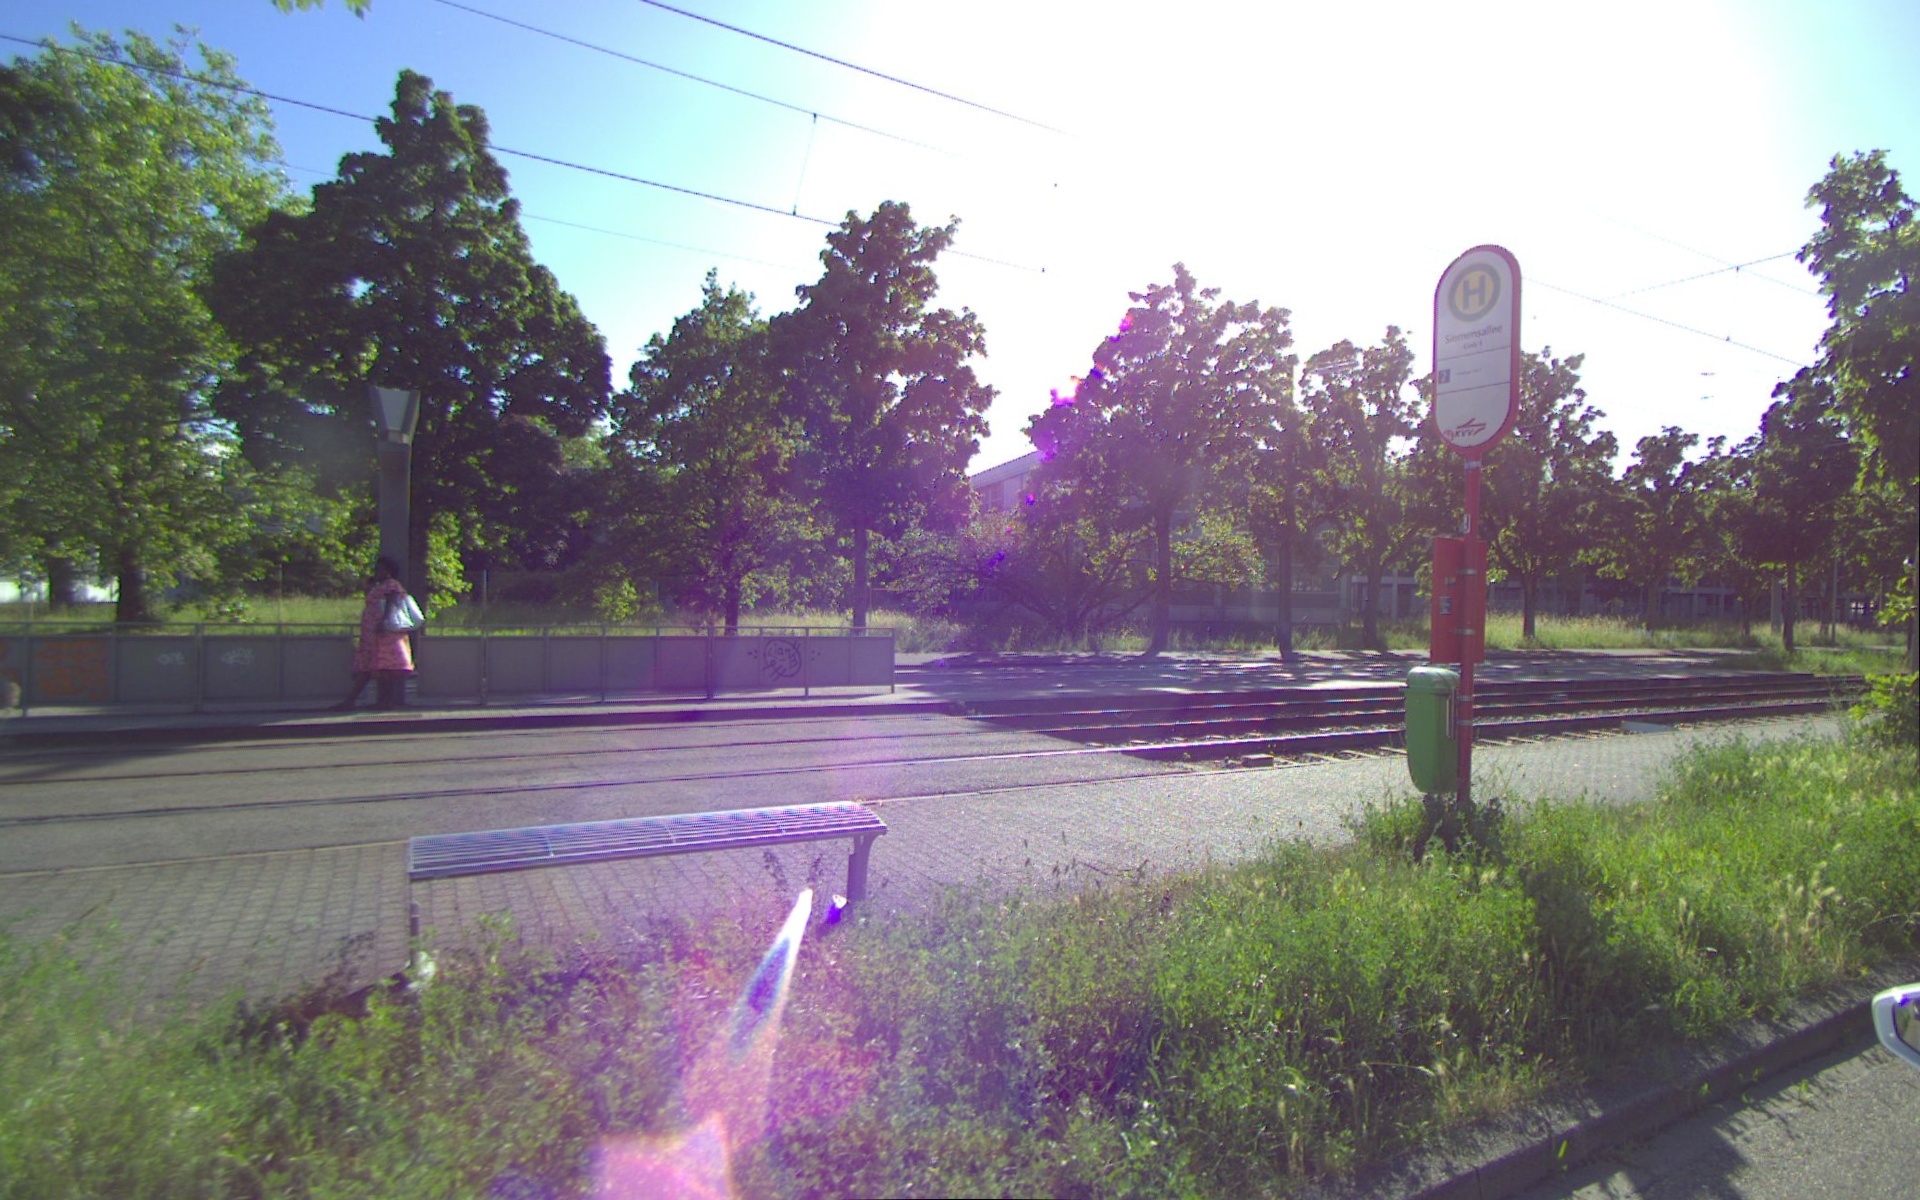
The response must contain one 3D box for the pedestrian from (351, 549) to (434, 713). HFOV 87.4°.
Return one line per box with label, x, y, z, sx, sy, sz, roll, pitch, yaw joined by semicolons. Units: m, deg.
pedestrian;-6.456;0.339;11.433;0.773;1.775;0.780;1;1;-31
